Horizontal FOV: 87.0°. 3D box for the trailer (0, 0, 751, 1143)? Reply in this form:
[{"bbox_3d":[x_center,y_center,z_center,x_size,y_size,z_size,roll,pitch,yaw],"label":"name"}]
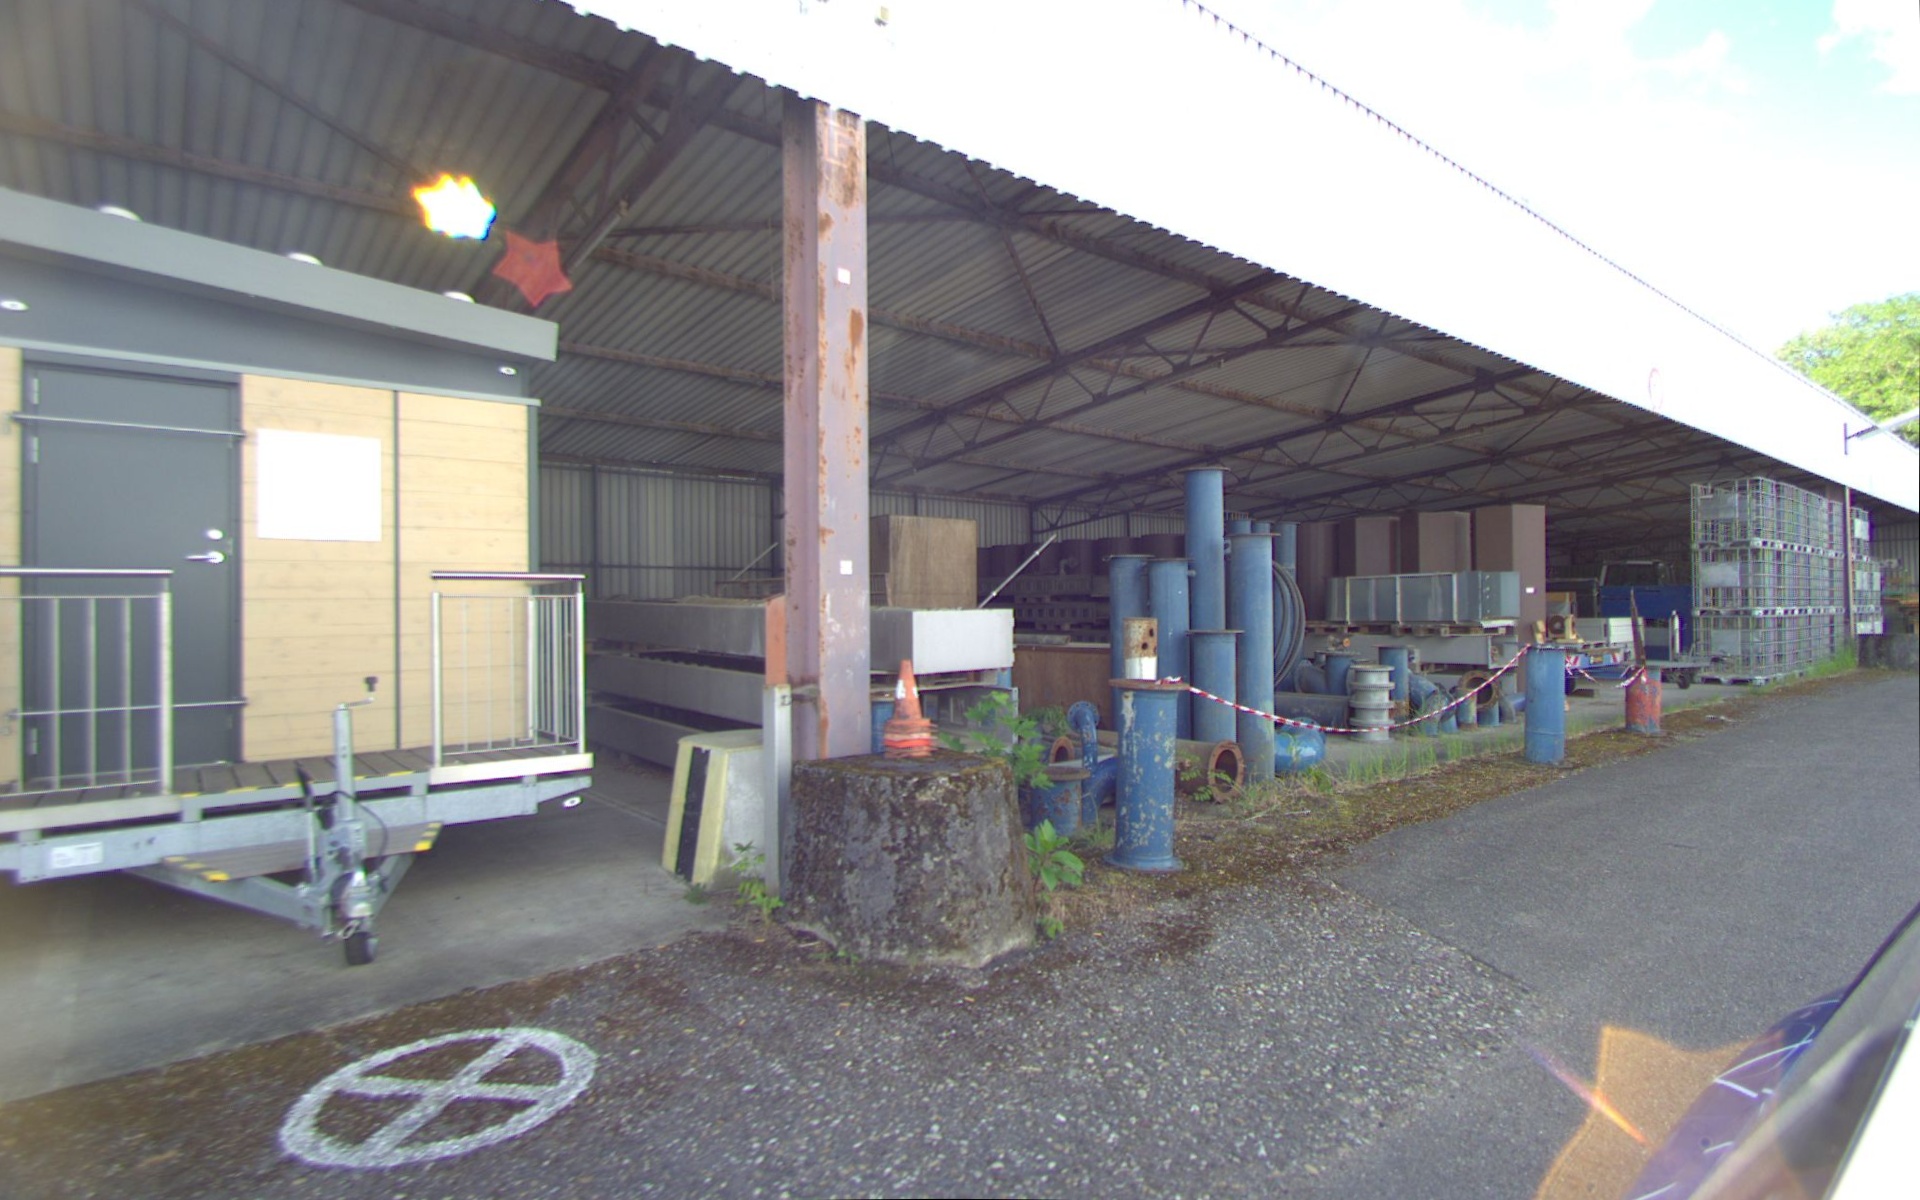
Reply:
[{"bbox_3d":[-5.058,-0.270,7.268,2.627,3.337,10.317,0,0,-38],"label":"trailer"}]

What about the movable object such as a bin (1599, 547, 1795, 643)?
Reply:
[{"bbox_3d":[22.731,-0.135,31.359,1.965,2.757,4.622,2,-1,-41],"label":"movable object such as a bin"}]

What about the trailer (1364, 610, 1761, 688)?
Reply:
[{"bbox_3d":[10.403,0.765,17.974,1.974,1.147,5.743,0,-1,-40],"label":"trailer"}]

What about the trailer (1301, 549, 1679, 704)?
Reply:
[{"bbox_3d":[7.995,0.325,15.749,2.009,2.022,4.831,-1,0,-36],"label":"trailer"}]
